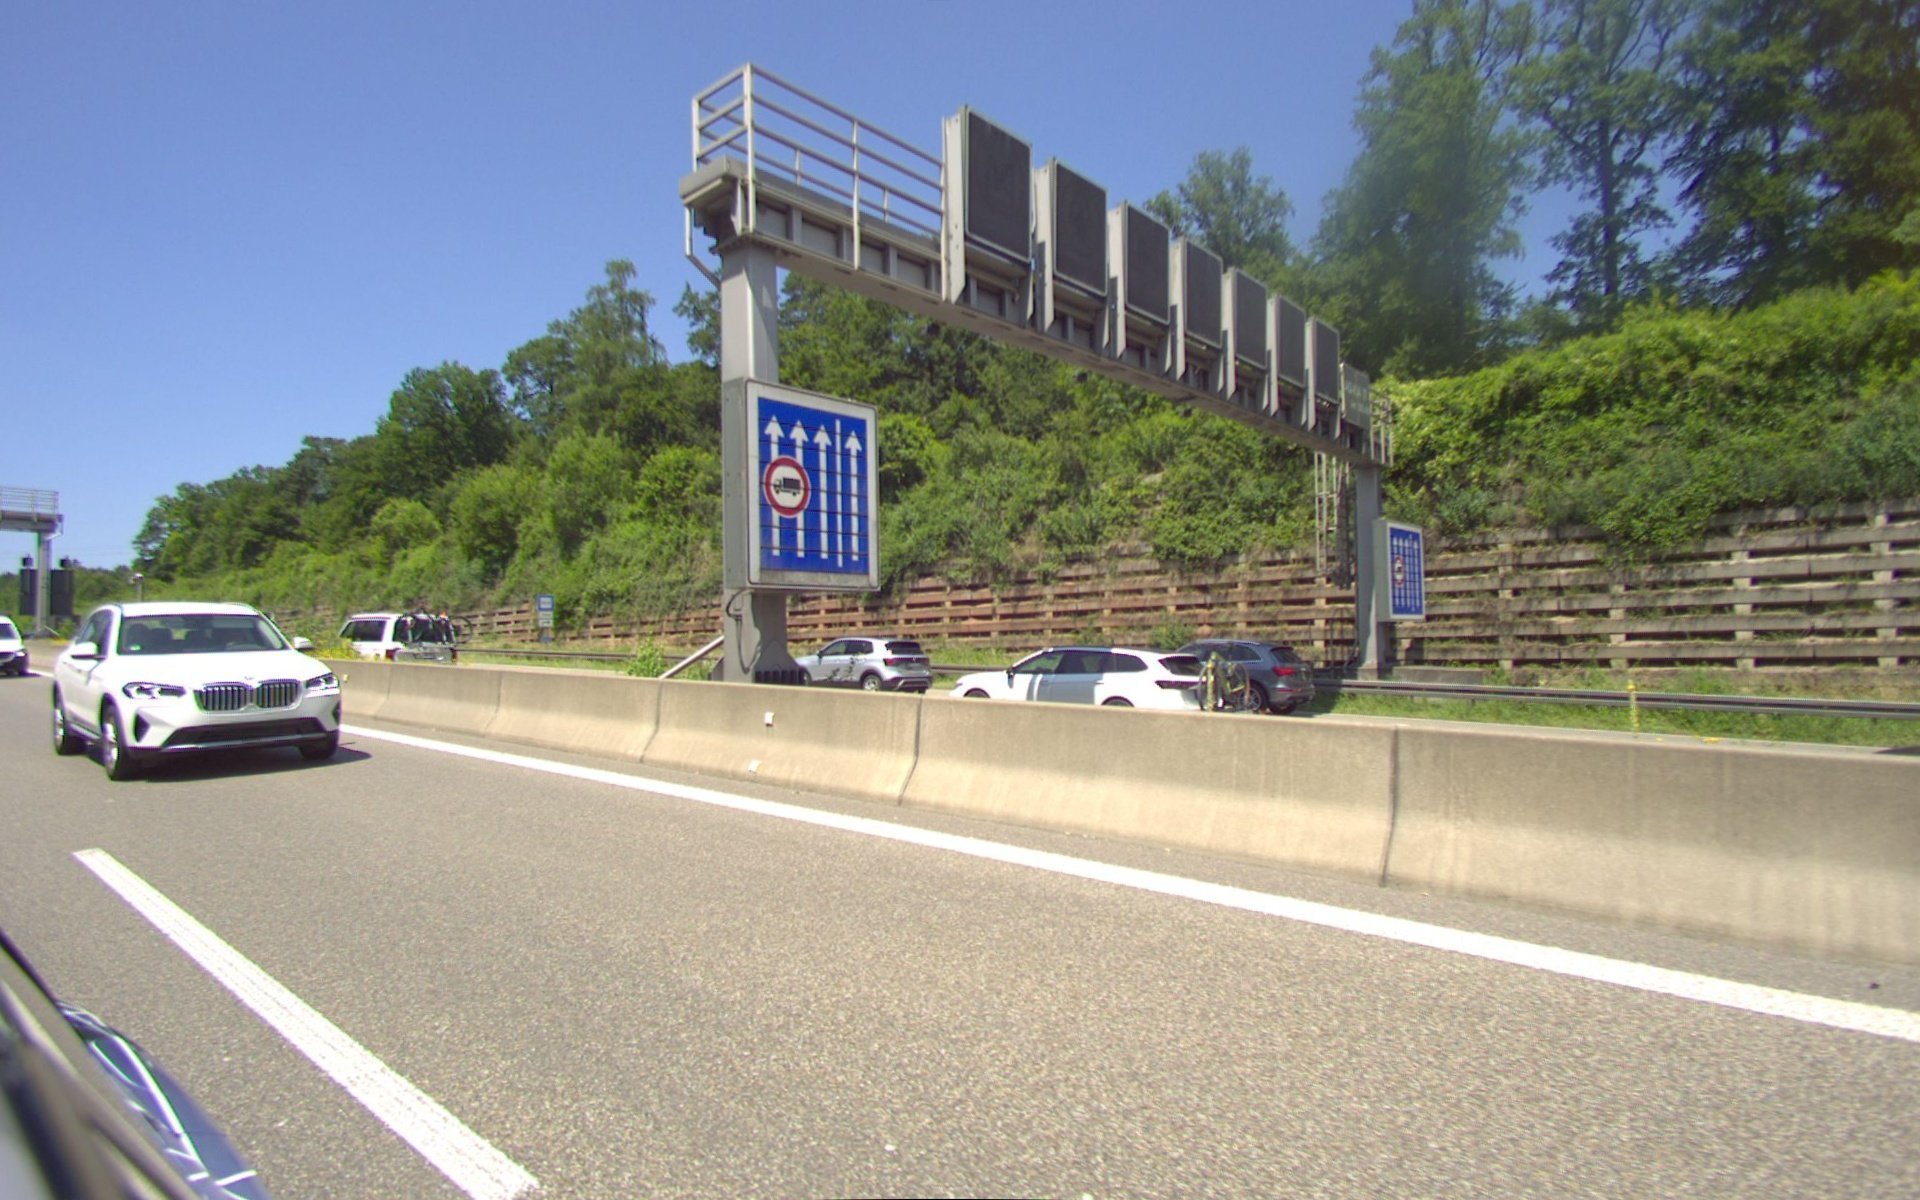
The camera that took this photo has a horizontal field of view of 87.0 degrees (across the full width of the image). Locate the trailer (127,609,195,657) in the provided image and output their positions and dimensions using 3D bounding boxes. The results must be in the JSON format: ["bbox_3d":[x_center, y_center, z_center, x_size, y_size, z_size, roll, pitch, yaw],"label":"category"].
[{"bbox_3d":[-74.509,3.132,94.204,14.467,4.239,2.945,-2,-4,44],"label":"trailer"}]

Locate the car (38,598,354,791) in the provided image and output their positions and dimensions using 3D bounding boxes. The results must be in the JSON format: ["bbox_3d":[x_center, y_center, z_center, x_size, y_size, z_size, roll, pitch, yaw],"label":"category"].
[{"bbox_3d":[-8.317,0.886,10.861,4.365,1.656,1.826,-2,-1,41],"label":"car"}]

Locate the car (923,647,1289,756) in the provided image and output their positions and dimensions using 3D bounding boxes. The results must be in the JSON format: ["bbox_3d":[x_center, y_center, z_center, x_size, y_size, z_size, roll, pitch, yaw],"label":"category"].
[{"bbox_3d":[2.203,1.544,16.767,5.882,1.506,1.941,-2,-3,40],"label":"car"}]

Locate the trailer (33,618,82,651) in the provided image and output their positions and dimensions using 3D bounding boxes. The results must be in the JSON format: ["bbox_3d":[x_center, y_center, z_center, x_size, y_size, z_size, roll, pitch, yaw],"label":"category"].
[{"bbox_3d":[-119.273,4.598,133.638,13.986,4.132,2.947,-2,-4,41],"label":"trailer"}]

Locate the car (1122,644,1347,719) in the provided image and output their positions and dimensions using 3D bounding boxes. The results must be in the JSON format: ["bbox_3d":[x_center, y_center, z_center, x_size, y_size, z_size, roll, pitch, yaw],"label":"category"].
[{"bbox_3d":[6.046,1.742,22.611,4.475,1.506,1.878,-2,-4,42],"label":"car"}]

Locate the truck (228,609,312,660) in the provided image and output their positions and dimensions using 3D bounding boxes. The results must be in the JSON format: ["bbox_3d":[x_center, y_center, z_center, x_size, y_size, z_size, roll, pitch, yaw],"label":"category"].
[{"bbox_3d":[-43.066,2.199,63.118,7.057,3.016,2.552,-2,-3,41],"label":"truck"}]

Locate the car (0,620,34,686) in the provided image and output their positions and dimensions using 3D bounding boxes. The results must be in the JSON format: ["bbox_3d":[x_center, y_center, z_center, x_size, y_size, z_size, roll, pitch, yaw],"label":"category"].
[{"bbox_3d":[-28.402,1.535,29.274,4.500,1.788,1.972,-2,0,42],"label":"car"}]

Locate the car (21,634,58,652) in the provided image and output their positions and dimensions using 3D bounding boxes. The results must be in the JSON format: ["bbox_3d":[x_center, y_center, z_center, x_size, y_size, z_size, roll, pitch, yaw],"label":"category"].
[{"bbox_3d":[-85.022,3.945,93.456,4.859,1.617,1.982,-2,-3,41],"label":"car"}]

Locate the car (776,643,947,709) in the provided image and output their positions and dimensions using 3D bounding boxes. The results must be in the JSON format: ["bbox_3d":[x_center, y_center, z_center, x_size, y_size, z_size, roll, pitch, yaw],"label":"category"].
[{"bbox_3d":[-2.574,1.870,25.817,4.371,1.537,1.878,-2,-4,42],"label":"car"}]

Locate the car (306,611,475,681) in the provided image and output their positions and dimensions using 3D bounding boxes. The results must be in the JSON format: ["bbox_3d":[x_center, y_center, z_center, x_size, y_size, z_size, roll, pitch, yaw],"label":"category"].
[{"bbox_3d":[-15.401,1.247,27.204,5.990,1.700,1.976,-2,-3,40],"label":"car"}]
